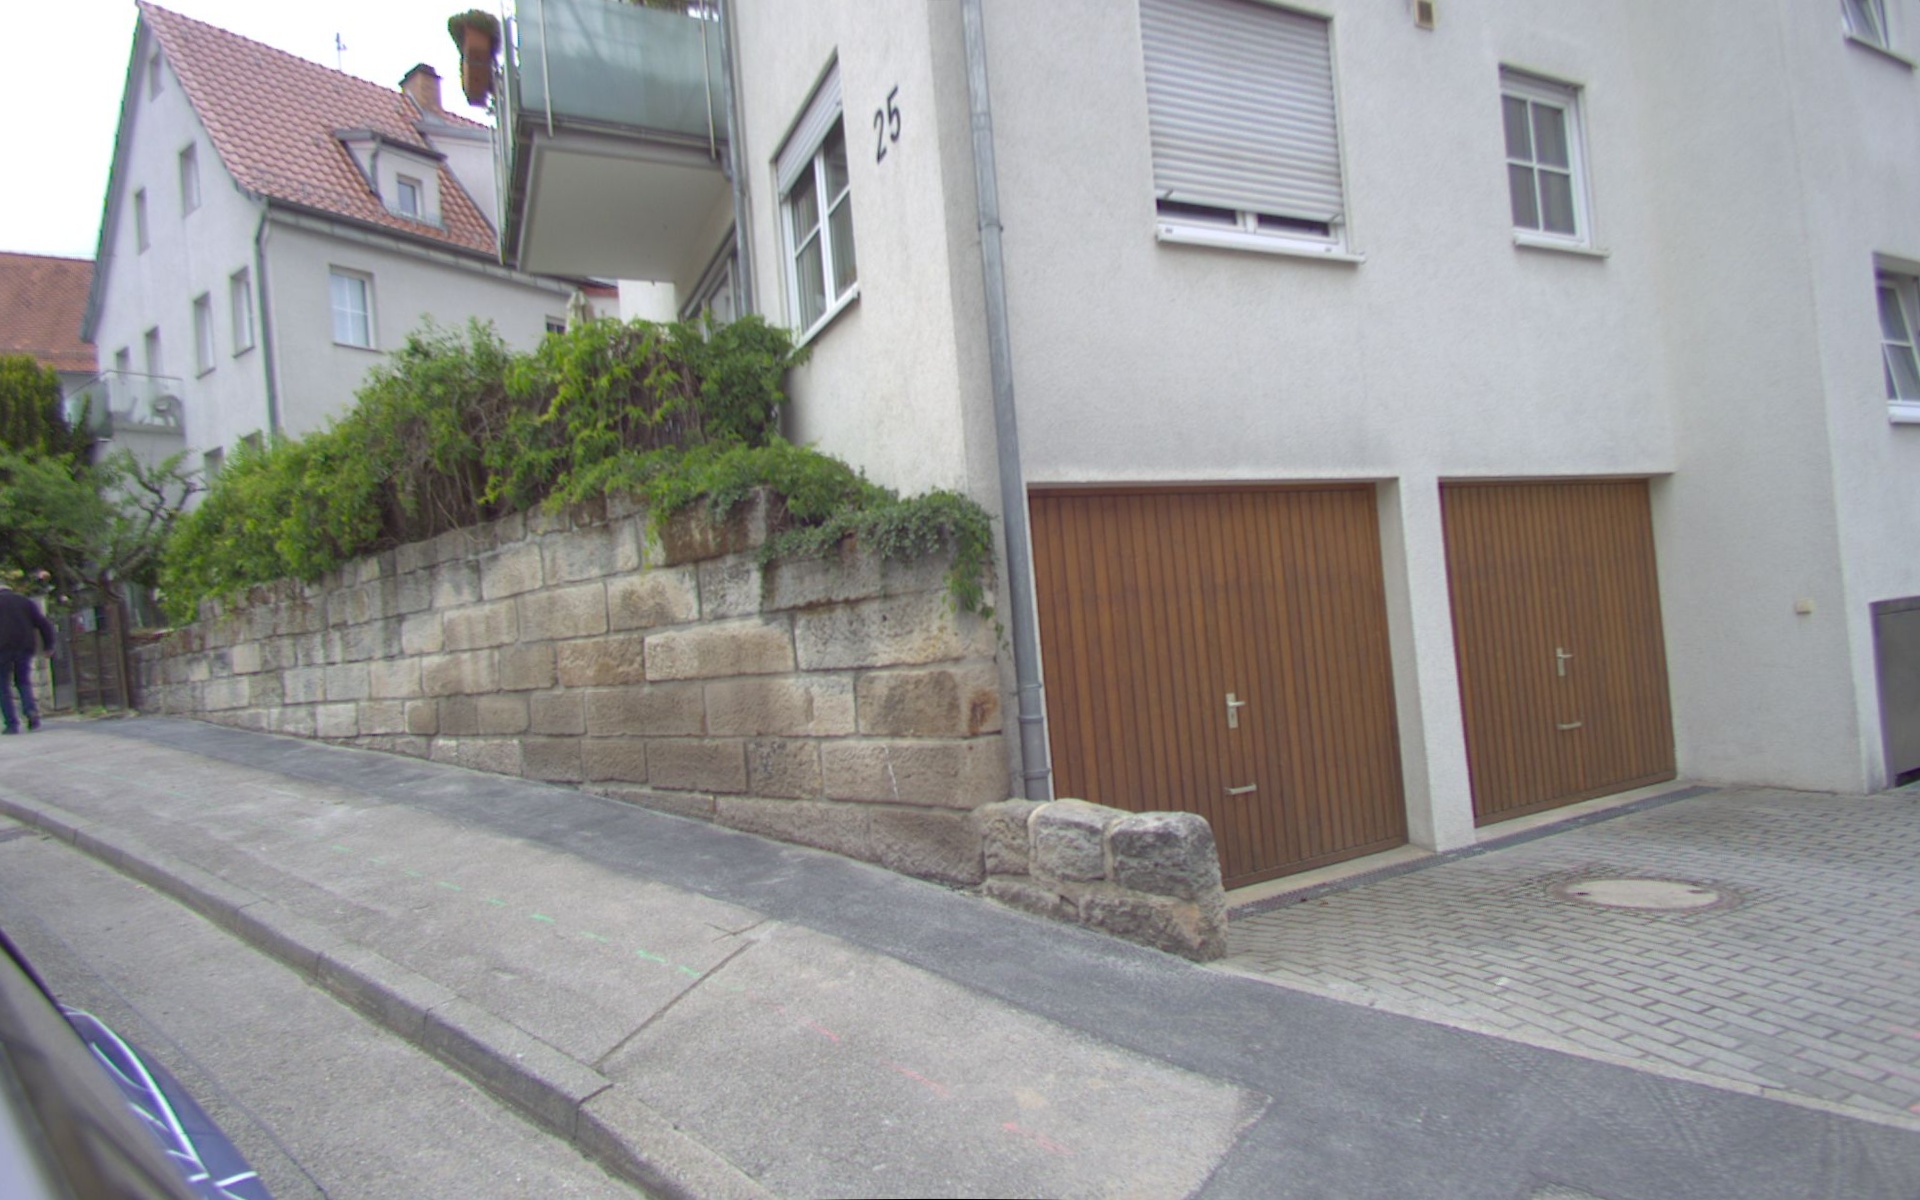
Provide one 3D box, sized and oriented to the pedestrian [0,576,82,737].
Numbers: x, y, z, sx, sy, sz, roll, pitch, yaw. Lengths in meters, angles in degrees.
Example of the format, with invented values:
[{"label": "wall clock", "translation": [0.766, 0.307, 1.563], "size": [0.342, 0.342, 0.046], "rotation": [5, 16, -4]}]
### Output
[{"label": "pedestrian", "translation": [-10.543, 0.612, 11.288], "size": [0.974, 1.690, 0.833], "rotation": [-1, 3, 35]}]
